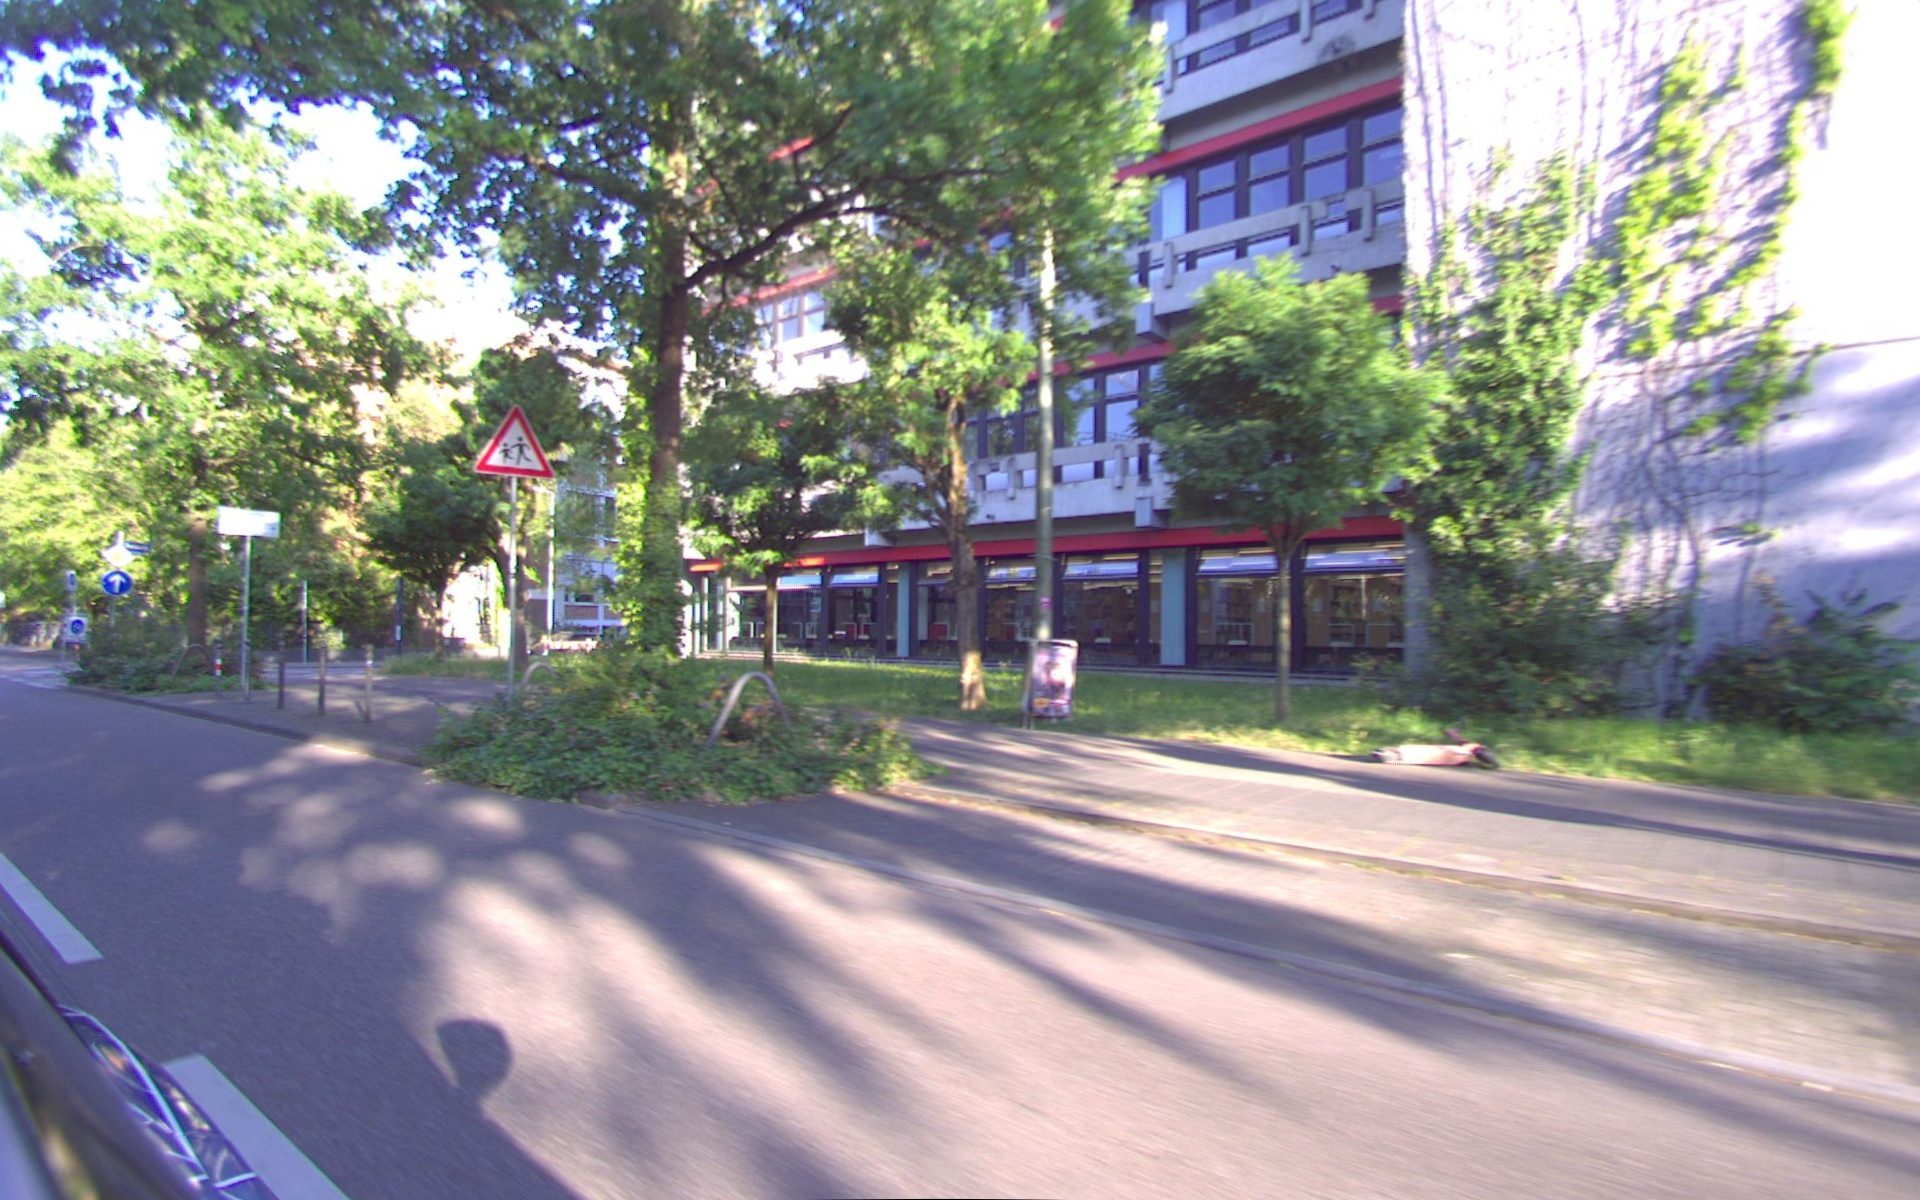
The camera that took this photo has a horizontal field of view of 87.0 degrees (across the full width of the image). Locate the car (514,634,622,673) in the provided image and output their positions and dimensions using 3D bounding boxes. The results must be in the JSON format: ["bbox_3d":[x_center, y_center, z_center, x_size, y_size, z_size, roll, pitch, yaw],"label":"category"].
[{"bbox_3d":[-16.210,2.181,42.033,1.769,1.460,3.924,1,-1,28],"label":"car"}]

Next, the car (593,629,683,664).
[{"bbox_3d":[-14.436,2.069,45.520,1.769,1.417,3.610,1,-1,28],"label":"car"}]

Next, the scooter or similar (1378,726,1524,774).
[{"bbox_3d":[4.848,1.474,10.092,1.243,0.278,1.156,-1,-1,24],"label":"scooter or similar"}]
